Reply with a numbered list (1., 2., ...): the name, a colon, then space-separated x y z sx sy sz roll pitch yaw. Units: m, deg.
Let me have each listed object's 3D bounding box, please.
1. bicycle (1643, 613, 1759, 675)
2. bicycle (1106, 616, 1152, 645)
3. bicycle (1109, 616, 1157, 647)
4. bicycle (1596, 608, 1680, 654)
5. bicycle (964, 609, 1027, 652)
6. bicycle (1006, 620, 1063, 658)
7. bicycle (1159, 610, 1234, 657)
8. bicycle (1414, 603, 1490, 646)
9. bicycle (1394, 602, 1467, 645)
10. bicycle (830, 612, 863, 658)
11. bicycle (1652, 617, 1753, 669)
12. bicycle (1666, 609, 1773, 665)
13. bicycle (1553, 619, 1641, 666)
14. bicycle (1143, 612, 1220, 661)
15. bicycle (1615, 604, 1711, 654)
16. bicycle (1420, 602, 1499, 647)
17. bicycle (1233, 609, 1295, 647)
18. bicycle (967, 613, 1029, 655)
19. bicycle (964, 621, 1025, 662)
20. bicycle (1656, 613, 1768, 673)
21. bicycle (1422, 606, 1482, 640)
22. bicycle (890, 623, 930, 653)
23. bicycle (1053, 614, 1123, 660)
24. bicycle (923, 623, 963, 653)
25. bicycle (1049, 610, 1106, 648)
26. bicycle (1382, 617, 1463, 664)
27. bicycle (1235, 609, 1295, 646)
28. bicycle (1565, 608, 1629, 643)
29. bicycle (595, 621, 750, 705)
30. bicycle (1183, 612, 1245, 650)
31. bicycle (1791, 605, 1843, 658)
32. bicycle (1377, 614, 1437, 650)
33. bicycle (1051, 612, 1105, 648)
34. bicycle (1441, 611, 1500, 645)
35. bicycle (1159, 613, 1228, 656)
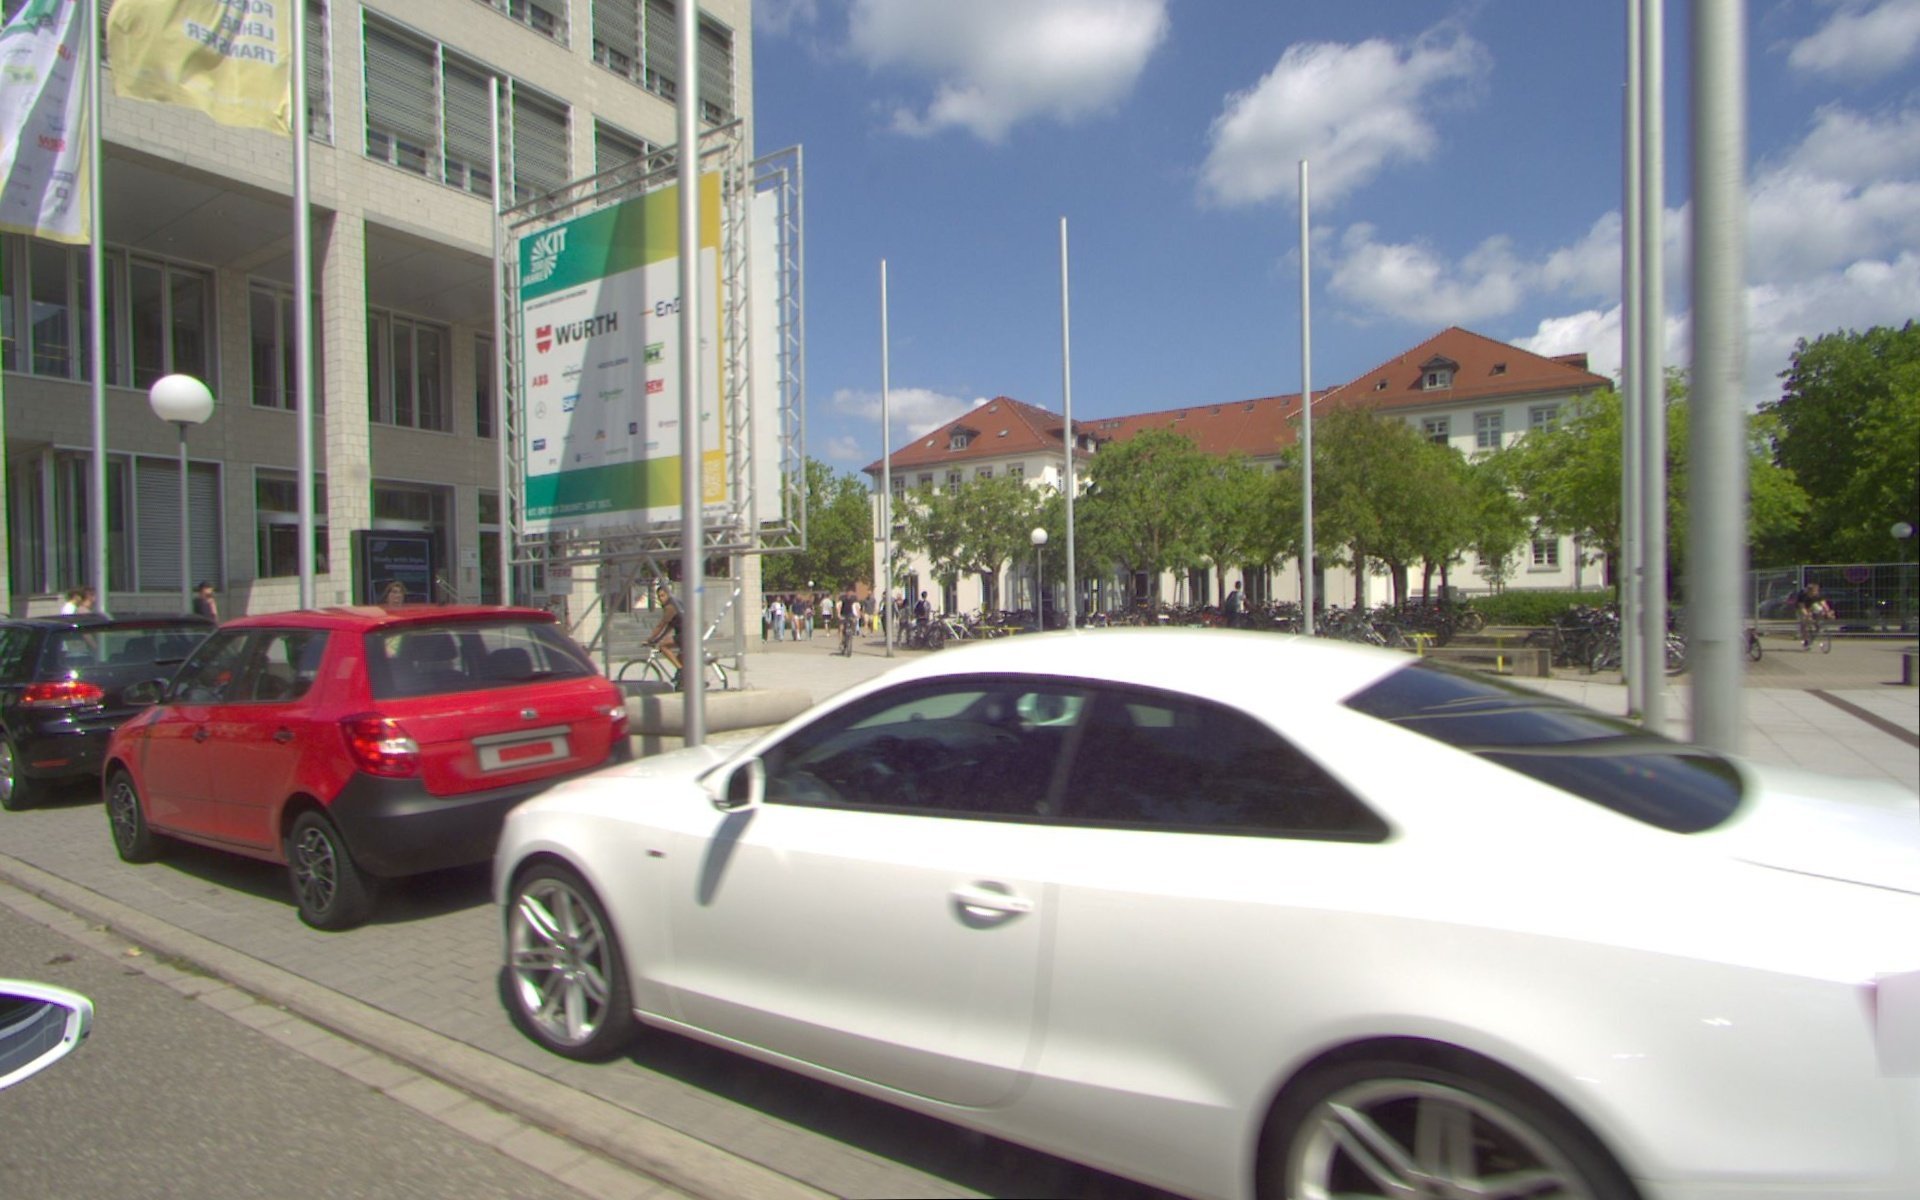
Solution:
1. bicycle: 14.444 0.857 19.539 1.733 1.113 0.604 -2 -1 3
2. bicycle: 6.917 1.262 40.962 1.733 1.113 0.604 -2 -1 3
3. bicycle: 6.776 1.222 39.196 1.733 1.113 0.604 -2 -1 3
4. bicycle: 17.839 0.819 26.368 1.733 1.113 0.604 -2 -1 3
5. bicycle: 1.001 0.857 28.154 1.733 1.113 0.604 -2 -1 3
6. bicycle: 2.309 1.207 31.160 1.733 1.113 0.604 -2 -1 3
7. bicycle: 6.034 0.860 25.617 1.733 1.113 0.604 -2 -1 3
8. bicycle: 13.482 0.672 27.482 1.733 1.113 0.604 -2 -1 3
9. bicycle: 13.331 0.669 28.381 1.733 1.113 0.604 -2 -1 3
10. bicycle: -3.038 0.915 26.748 0.670 1.153 1.690 0 1 -13
11. bicycle: 16.376 0.940 22.101 1.733 1.113 0.604 -1 -1 3
12. bicycle: 16.122 0.787 21.290 1.733 1.113 0.604 -2 -1 3
13. bicycle: 15.647 1.035 24.622 1.733 1.113 0.604 -1 -1 3
14. bicycle: 5.452 0.898 24.700 1.733 1.113 0.604 -2 -1 3
15. bicycle: 15.975 0.656 22.774 1.733 1.113 0.604 -1 0 3
16. bicycle: 13.347 0.662 26.781 1.733 1.113 0.604 -2 -1 3
17. bicycle: 9.696 0.894 31.971 1.733 1.113 0.604 -2 -1 3
18. bicycle: 1.101 0.971 28.871 1.733 1.113 0.604 -2 -1 3
19. bicycle: 1.024 1.221 29.608 1.733 1.113 0.604 -2 -1 3
20. bicycle: 15.137 0.858 20.180 1.733 1.113 0.604 -2 -1 3
21. bicycle: 17.021 0.802 34.669 1.733 1.113 0.604 -2 -1 3
22. bicycle: -1.453 1.102 29.444 0.511 0.803 1.763 -1 0 21
23. bicycle: 3.313 0.956 25.989 1.733 1.113 0.604 -2 -1 3
24. bicycle: -0.479 1.084 28.896 0.511 0.803 1.763 -1 0 21
25. bicycle: 3.756 0.934 32.167 1.733 1.113 0.604 -2 -1 3
26. bicycle: 11.756 1.036 25.466 1.733 1.113 0.604 -2 -1 3
27. bicycle: 9.978 0.904 32.823 1.733 1.113 0.604 -2 -1 3
28. bicycle: 21.554 0.855 33.907 1.733 1.113 0.593 -2 -1 3
29. bicycle: -4.113 0.880 14.279 2.123 1.093 0.899 -2 0 31
30. bicycle: 7.926 0.970 31.276 1.733 1.113 0.604 -2 -1 3
31. bicycle: 19.414 0.694 22.712 0.599 1.153 1.580 1 1 30
32. bicycle: 15.100 1.080 33.852 1.733 1.113 0.604 -2 -1 3
33. bicycle: 3.928 0.998 33.418 1.733 1.113 0.604 -2 -1 3
34. bicycle: 18.227 0.995 35.754 1.733 1.113 0.604 -2 -1 3
35. bicycle: 6.438 0.959 27.702 1.733 1.113 0.604 -2 -1 3
